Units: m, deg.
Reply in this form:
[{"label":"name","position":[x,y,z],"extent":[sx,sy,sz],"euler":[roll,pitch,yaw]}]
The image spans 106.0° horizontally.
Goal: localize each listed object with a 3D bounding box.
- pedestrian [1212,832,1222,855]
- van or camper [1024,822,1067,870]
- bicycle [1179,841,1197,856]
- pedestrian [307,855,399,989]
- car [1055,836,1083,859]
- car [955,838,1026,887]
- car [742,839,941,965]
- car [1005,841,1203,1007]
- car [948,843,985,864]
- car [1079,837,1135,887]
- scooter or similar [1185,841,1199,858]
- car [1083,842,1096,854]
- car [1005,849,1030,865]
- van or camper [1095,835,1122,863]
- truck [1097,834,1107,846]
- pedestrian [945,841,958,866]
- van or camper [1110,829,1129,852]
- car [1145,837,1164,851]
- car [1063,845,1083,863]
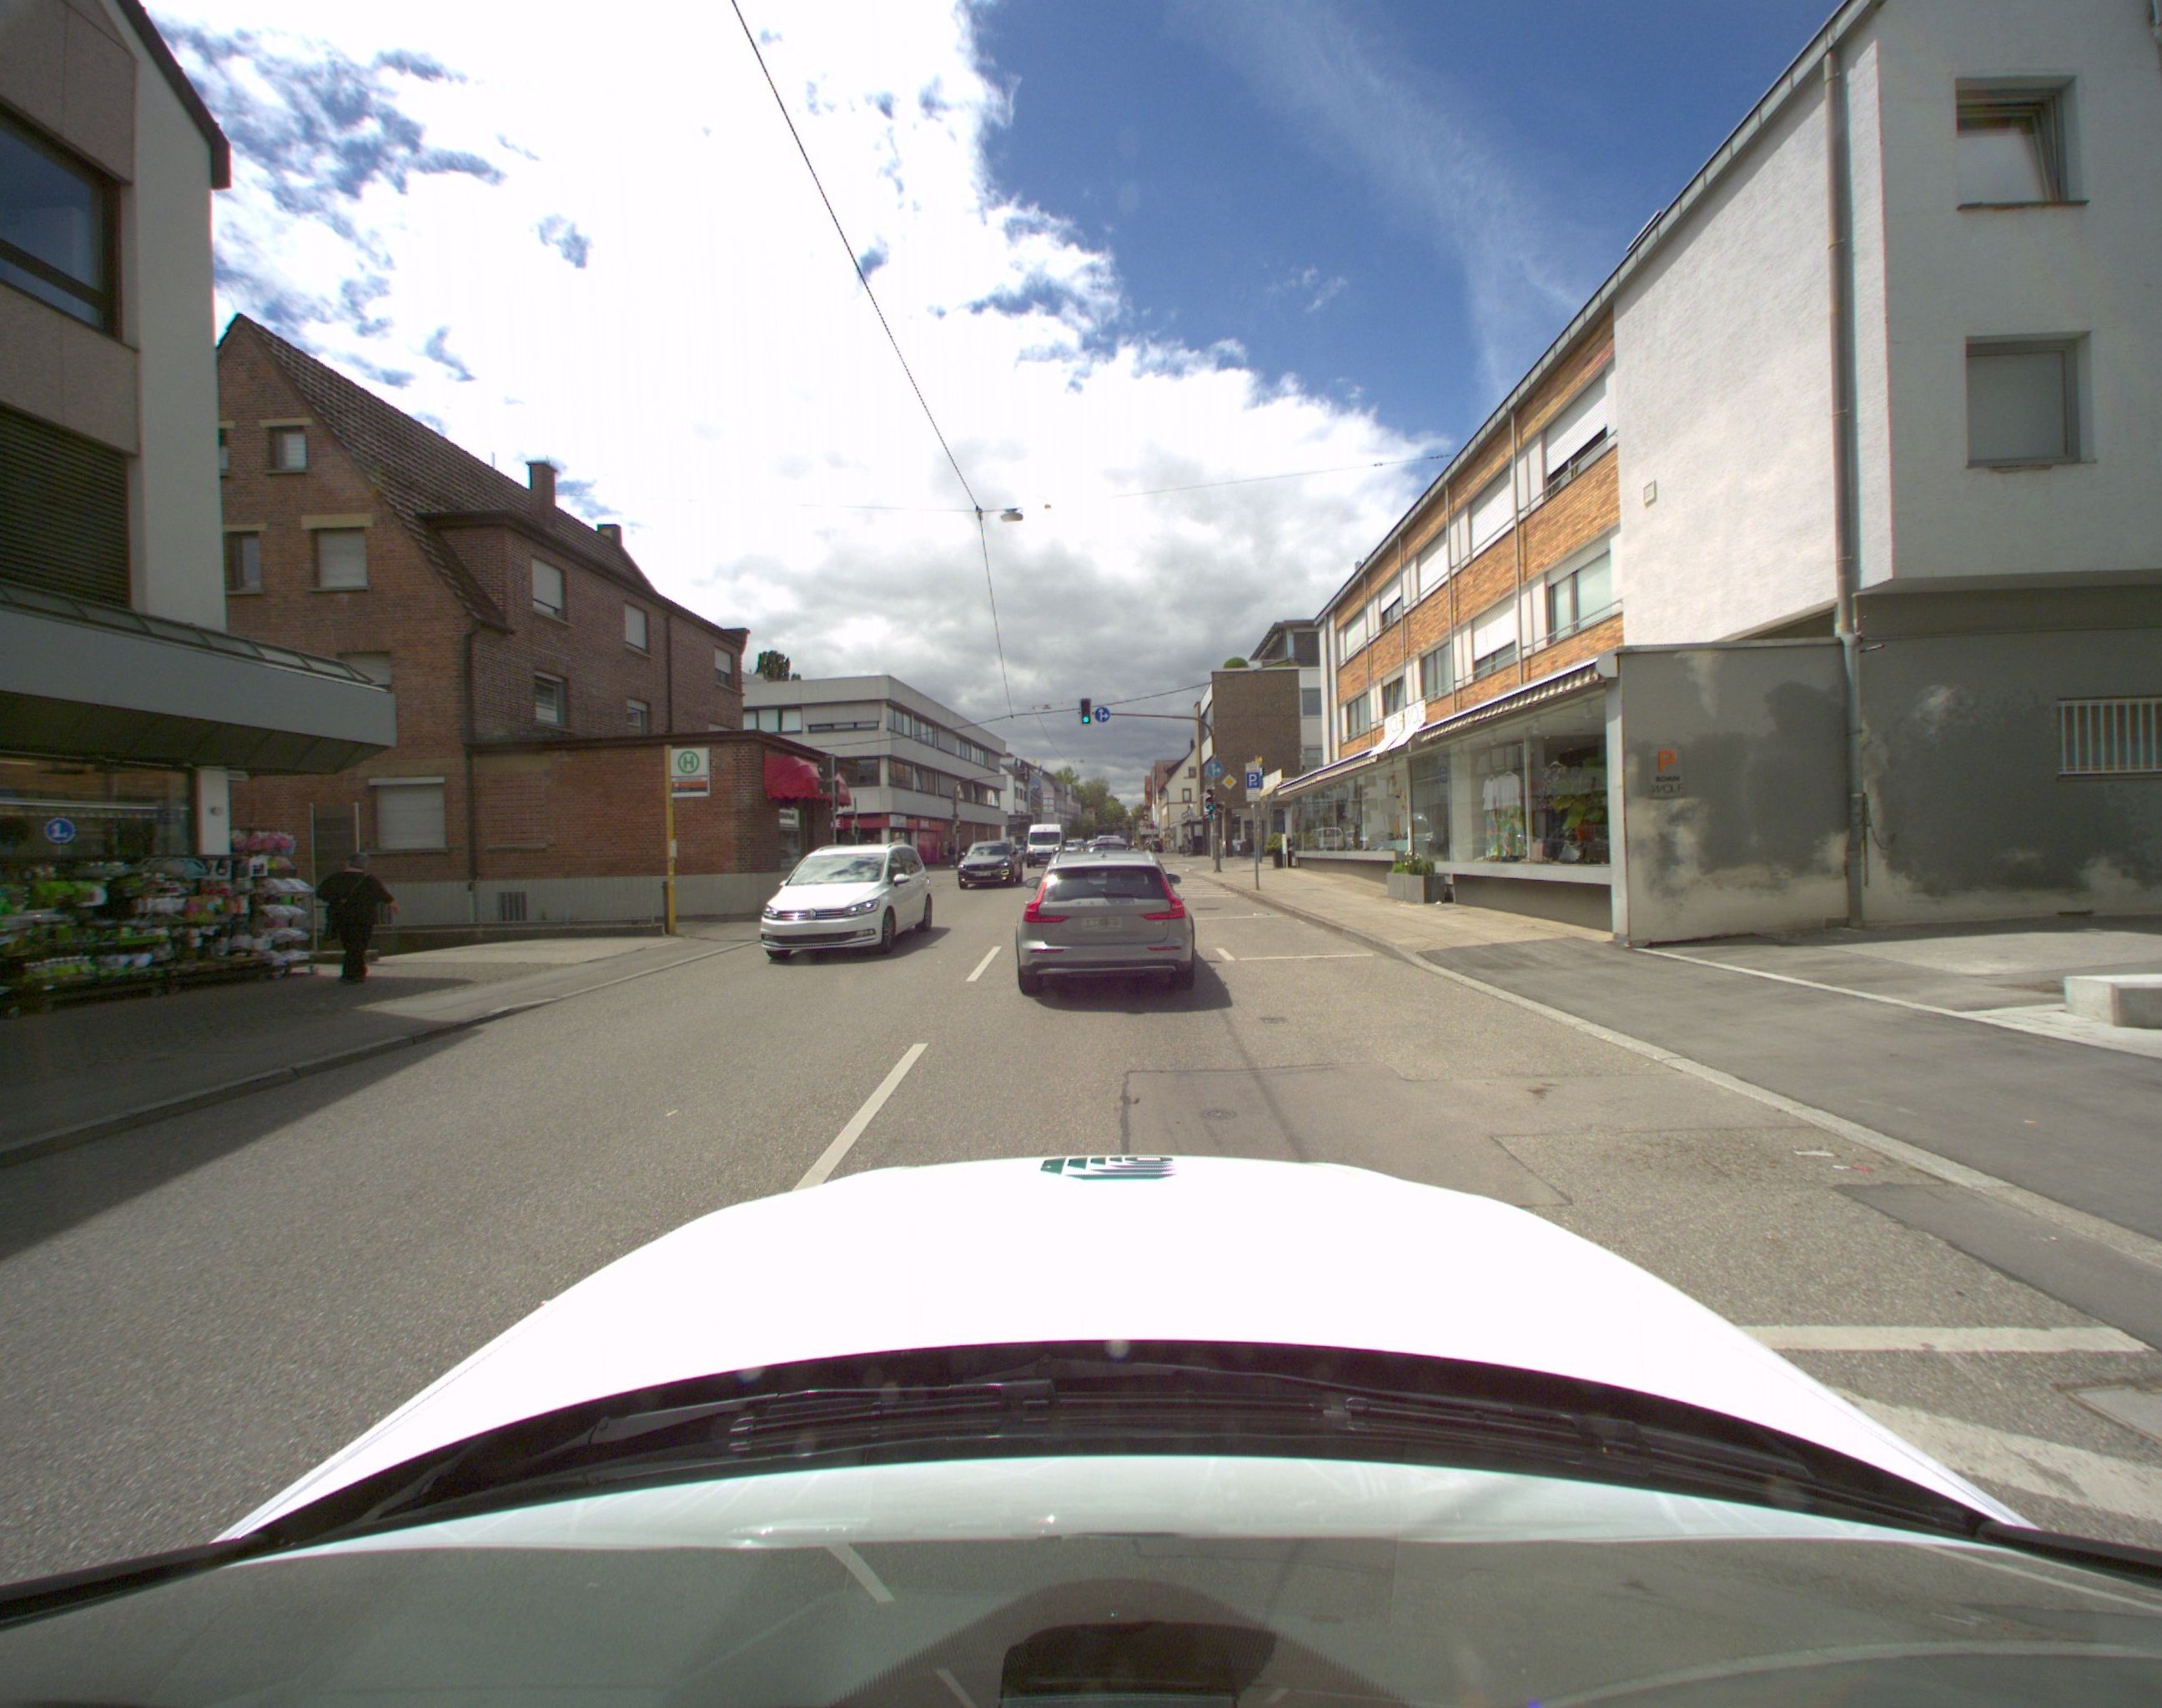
[{"label":"pedestrian","position":[8.736,-0.675,52.291],"extent":[0.500,1.459,0.502],"euler":[-5,0,15]},{"label":"van or camper","position":[-1.990,-0.510,47.297],"extent":[2.141,2.556,5.439],"euler":[-3,2,0]},{"label":"bicycle","position":[8.464,-0.402,64.385],"extent":[0.555,1.144,2.288],"euler":[-3,1,-15]},{"label":"pedestrian","position":[-8.859,0.794,9.938],"extent":[0.776,1.558,0.567],"euler":[1,-2,-39]},{"label":"car","position":[-0.939,-0.504,63.852],"extent":[1.773,1.639,4.225],"euler":[-3,1,3]},{"label":"car","position":[-3.016,0.276,27.838],"extent":[1.784,1.511,3.847],"euler":[-2,0,2]},{"label":"car","position":[-3.646,0.628,13.270],"extent":[1.768,1.612,4.123],"euler":[-3,1,3]},{"label":"car","position":[0.282,0.628,9.671],"extent":[1.829,1.486,4.002],"euler":[-2,1,2]},{"label":"car","position":[-8.451,-0.062,60.574],"extent":[1.776,1.464,4.094],"euler":[0,1,6]},{"label":"car","position":[0.836,0.225,26.012],"extent":[1.644,1.482,3.609],"euler":[-1,0,2]},{"label":"scooter or similar","position":[8.363,-0.339,61.285],"extent":[0.342,1.253,1.236],"euler":[-4,0,-23]},{"label":"car","position":[1.179,-0.814,112.259],"extent":[1.661,1.553,4.219],"euler":[-2,1,3]},{"label":"car","position":[-6.106,0.298,78.543],"extent":[1.747,1.426,3.867],"euler":[-2,0,5]},{"label":"van or camper","position":[2.011,-0.321,59.113],"extent":[1.812,1.835,4.001],"euler":[-2,-1,2]},{"label":"truck","position":[5.376,-3.519,206.757],"extent":[2.266,2.886,7.086],"euler":[-2,1,3]},{"label":"pedestrian","position":[-8.515,-0.051,53.527],"extent":[0.616,1.641,0.661],"euler":[-2,1,3]},{"label":"van or camper","position":[4.789,-1.670,101.160],"extent":[2.114,2.686,4.785],"euler":[-2,1,3]},{"label":"car","position":[8.011,-1.056,89.397],"extent":[1.705,1.464,4.000],"euler":[-1,-1,0]},{"label":"car","position":[-0.783,-0.014,79.222],"extent":[1.783,1.589,4.101],"euler":[-2,0,0]}]
